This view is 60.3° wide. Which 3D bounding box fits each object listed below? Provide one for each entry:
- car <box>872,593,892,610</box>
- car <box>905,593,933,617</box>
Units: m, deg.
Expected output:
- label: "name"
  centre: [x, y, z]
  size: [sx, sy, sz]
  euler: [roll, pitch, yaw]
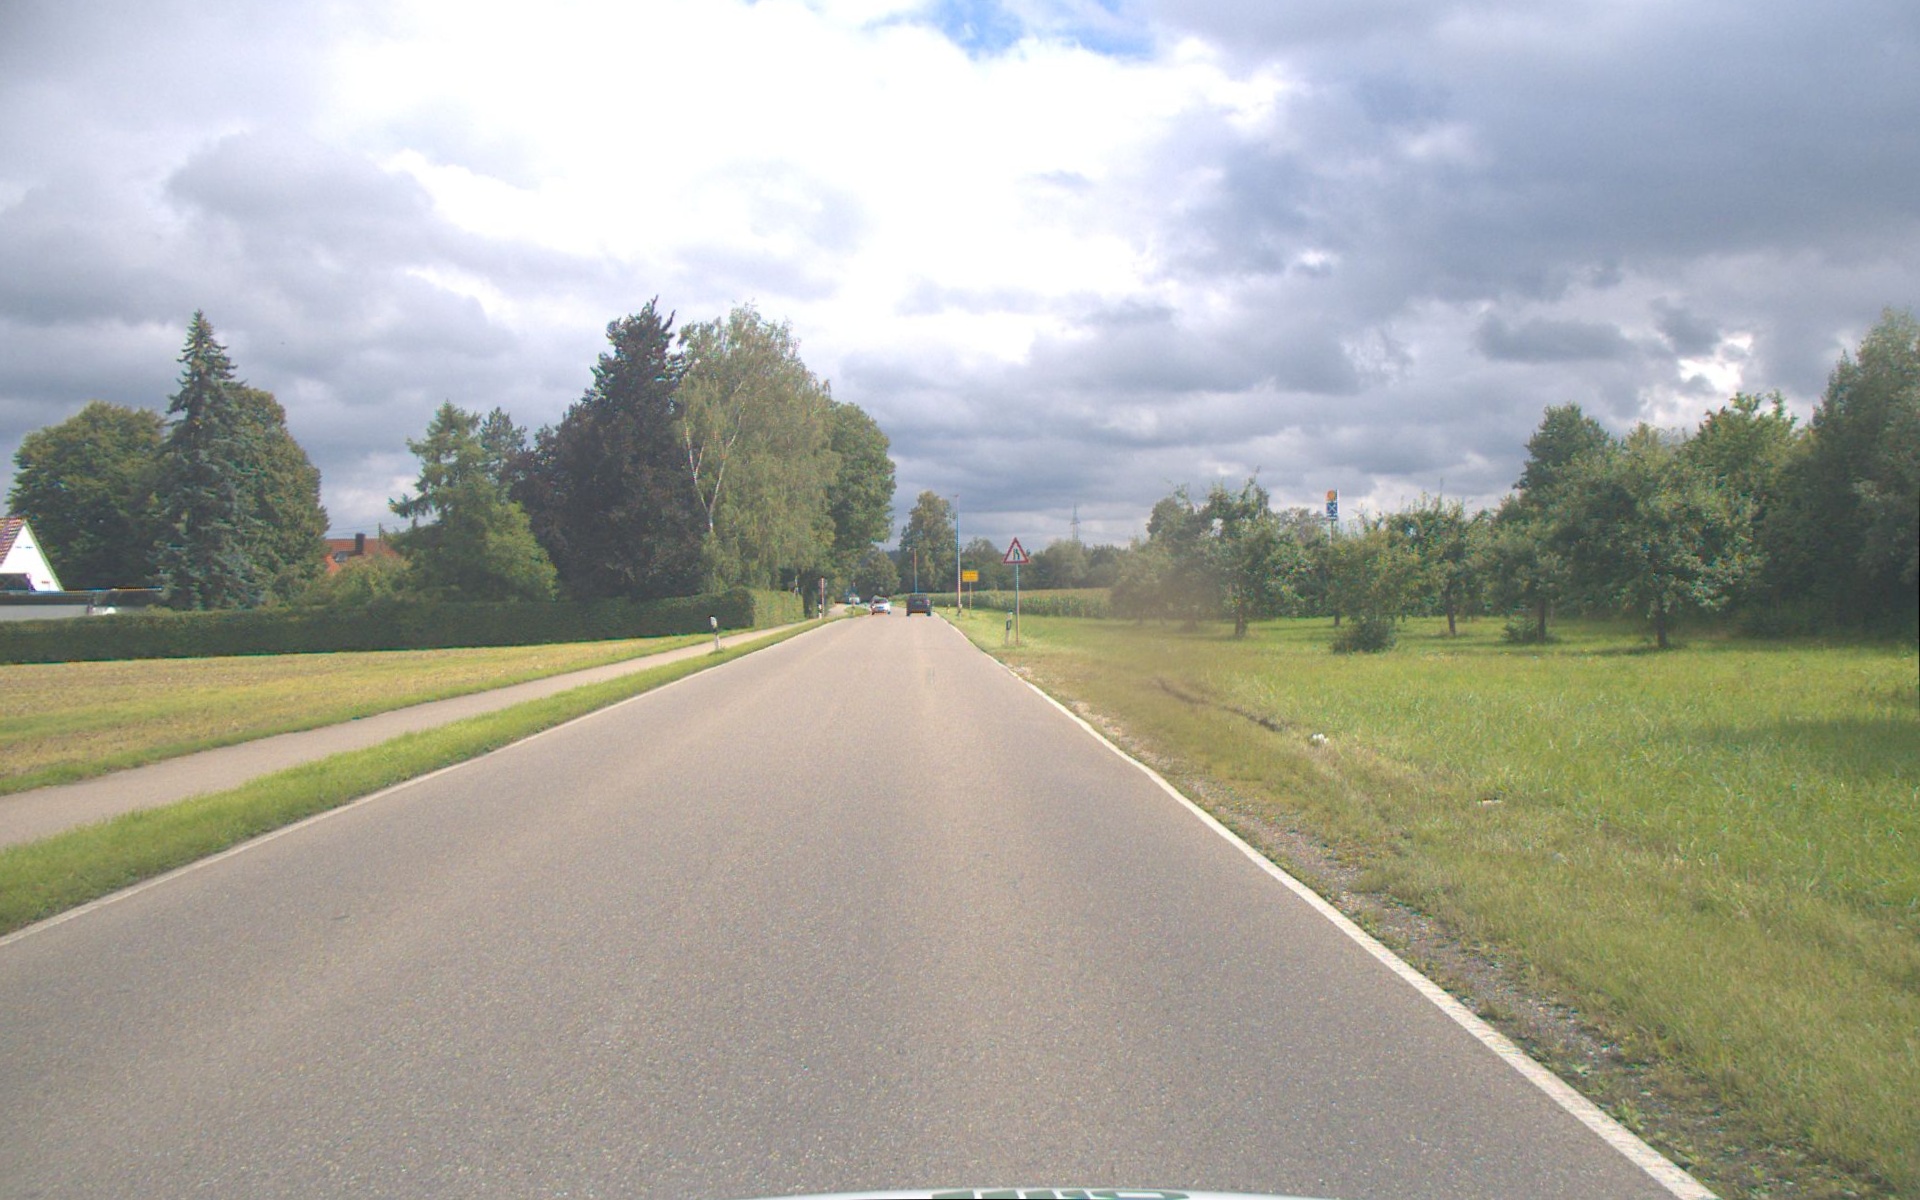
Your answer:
- label: "car"
  centre: [-7.050, 0.130, 149.993]
  size: [1.660, 1.484, 3.542]
  euler: [-1, 0, -2]
- label: "car"
  centre: [-3.083, 0.342, 123.953]
  size: [1.869, 1.695, 3.997]
  euler: [-2, 0, -4]
